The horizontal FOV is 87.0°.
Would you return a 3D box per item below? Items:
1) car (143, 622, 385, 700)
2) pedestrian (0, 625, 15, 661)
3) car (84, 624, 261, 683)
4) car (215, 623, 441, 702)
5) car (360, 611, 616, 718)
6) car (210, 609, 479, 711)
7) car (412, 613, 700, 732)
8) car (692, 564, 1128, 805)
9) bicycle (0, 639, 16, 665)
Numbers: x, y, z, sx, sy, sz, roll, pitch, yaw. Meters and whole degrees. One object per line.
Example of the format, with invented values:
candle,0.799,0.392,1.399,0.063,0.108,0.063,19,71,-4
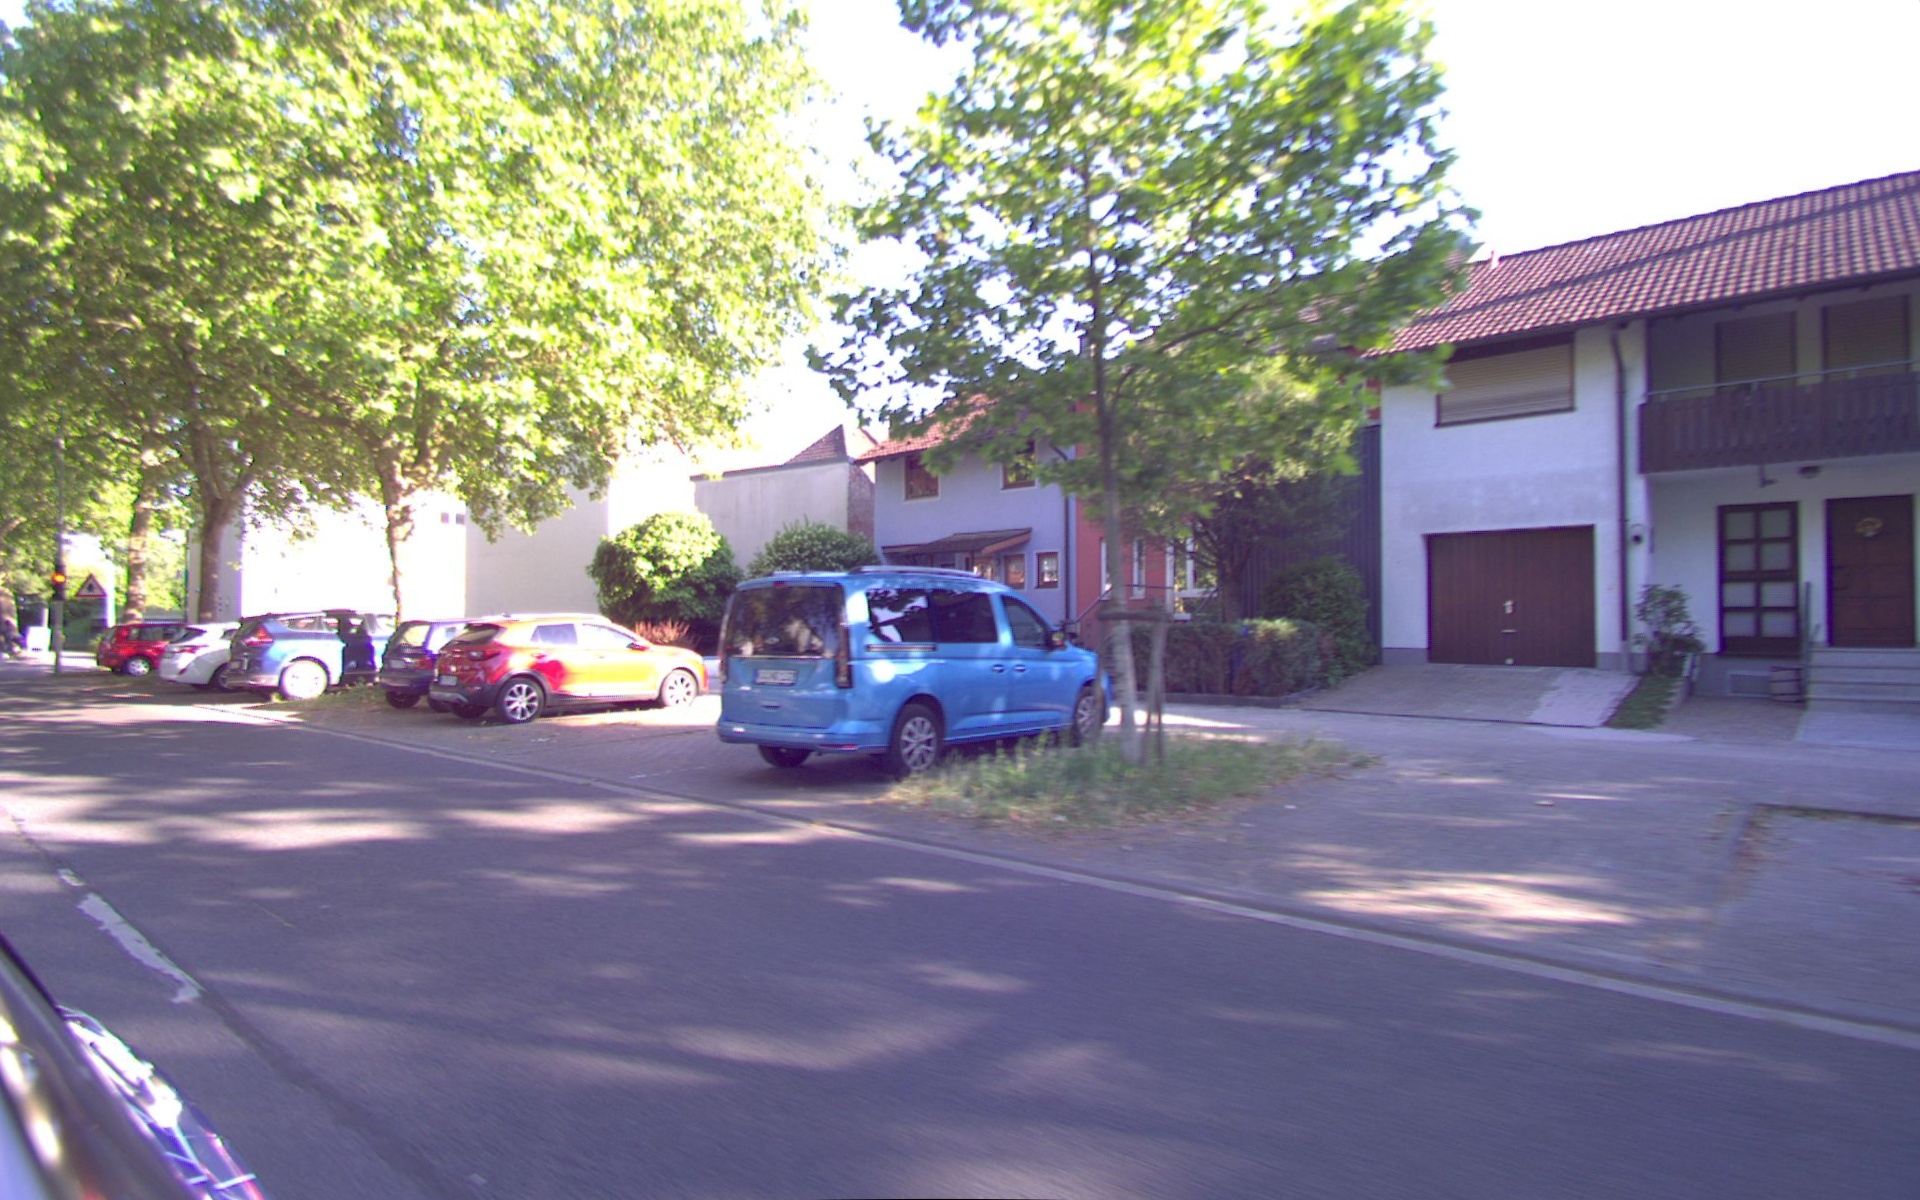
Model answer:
car,-15.485,1.285,22.711,1.872,1.512,4.123,-1,-1,37
pedestrian,-42.214,1.882,44.714,1.033,1.543,0.504,0,-1,39
car,-22.815,1.506,29.425,1.828,1.546,3.730,-1,-1,36
car,-13.287,1.256,21.444,1.752,1.495,3.722,-2,-2,39
car,-7.745,0.988,16.871,1.723,1.528,3.482,-2,-1,35
car,-11.675,1.056,19.418,1.829,1.729,4.051,-1,-1,39
car,-5.929,0.980,15.144,1.780,1.528,3.606,-2,-1,39
car,-0.262,0.645,10.075,1.993,1.838,4.344,-2,0,38
bicycle,-42.326,2.309,44.806,2.151,1.049,0.504,1,-2,40
